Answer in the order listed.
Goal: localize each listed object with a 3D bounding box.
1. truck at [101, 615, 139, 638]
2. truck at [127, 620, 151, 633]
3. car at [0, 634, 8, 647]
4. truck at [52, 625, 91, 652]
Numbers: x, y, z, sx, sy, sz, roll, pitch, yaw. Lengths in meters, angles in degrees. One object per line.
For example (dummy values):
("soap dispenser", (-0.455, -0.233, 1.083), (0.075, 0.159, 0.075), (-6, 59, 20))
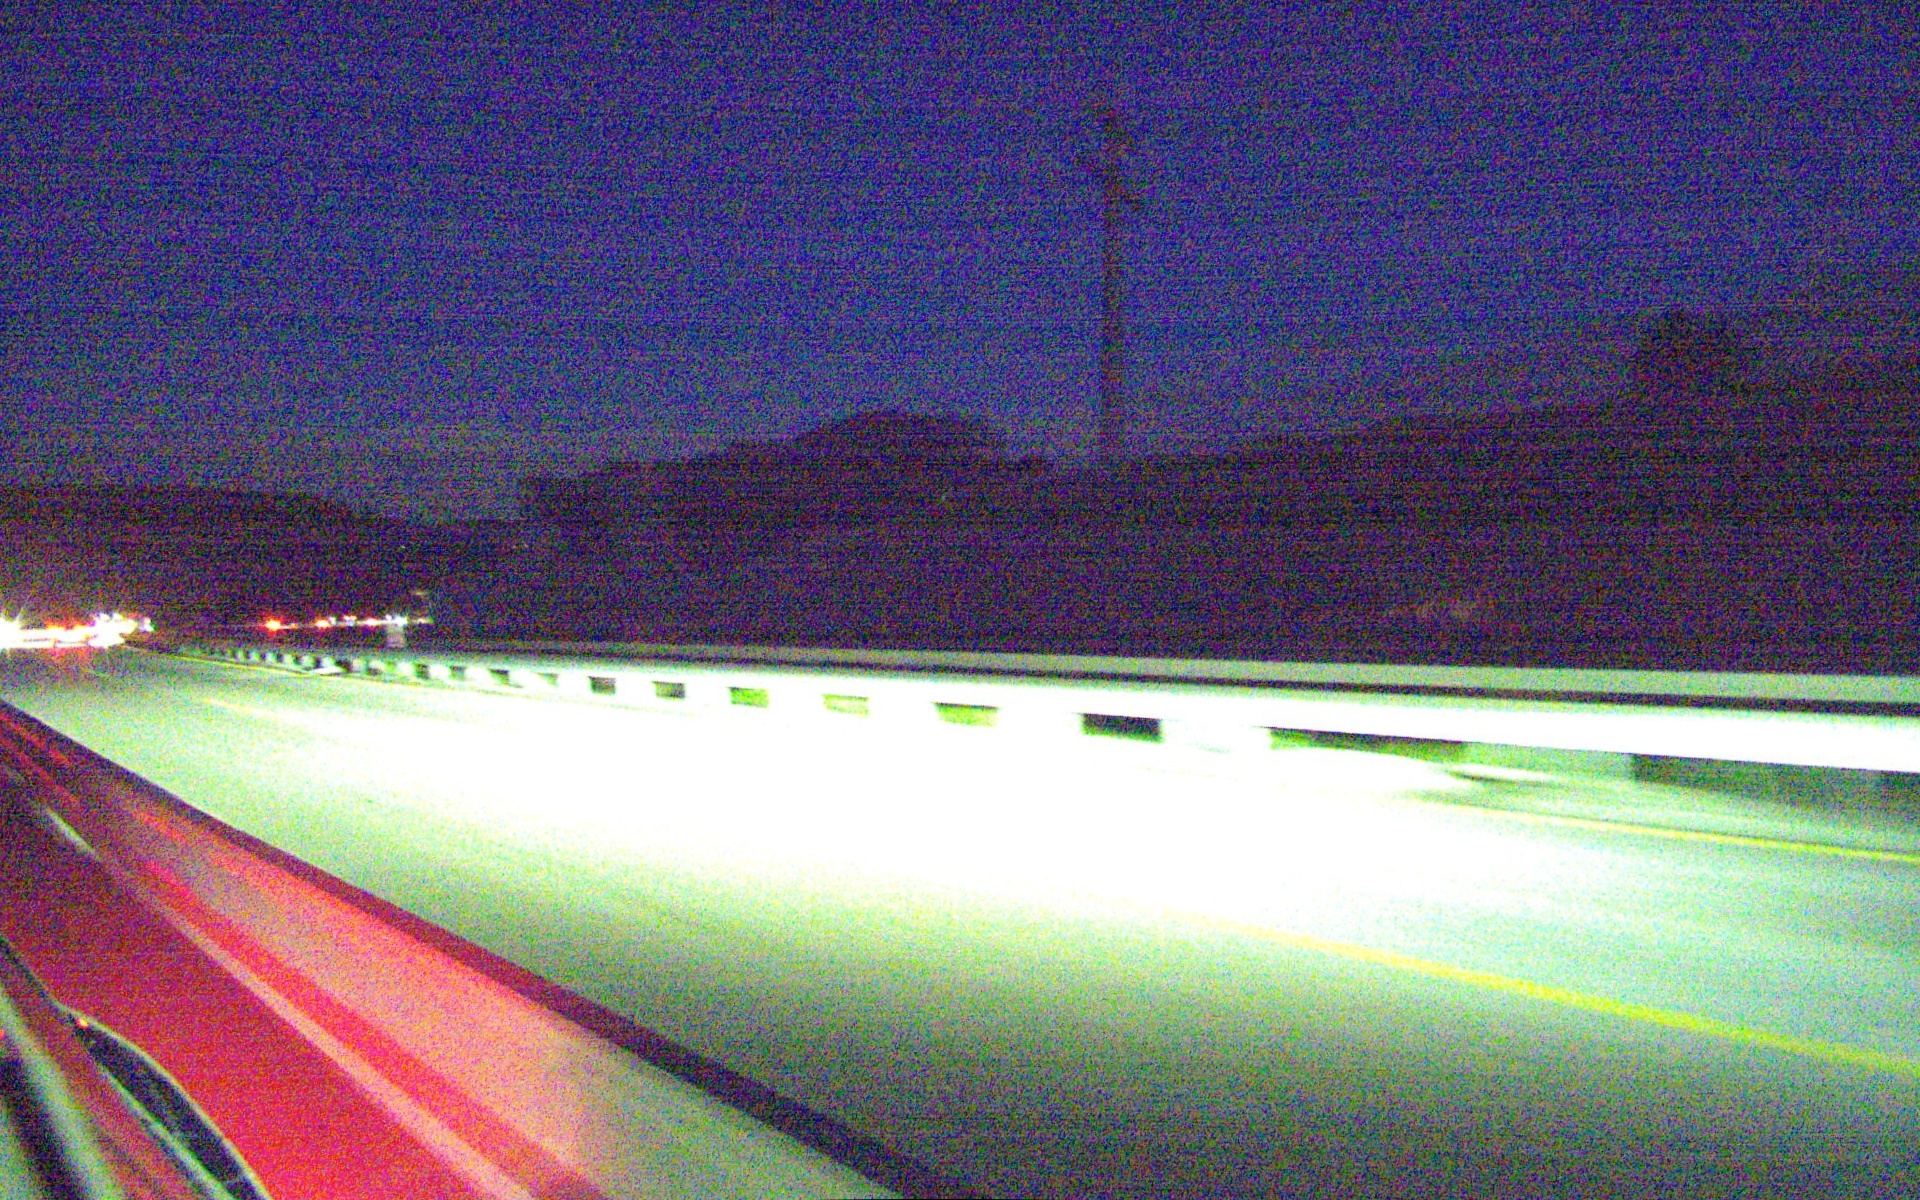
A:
("truck", (-163.654, 5.146, 197.452), (2.923, 4.307, 17.196), (1, -1, -31))
("truck", (-158.597, 5.220, 195.623), (2.387, 2.443, 7.113), (1, -2, -29))
("car", (-108.582, 4.558, 113.756), (1.784, 1.529, 3.943), (2, -3, -37))
("truck", (-52.746, 2.259, 60.089), (1.662, 1.481, 4.158), (-1, 1, -42))
